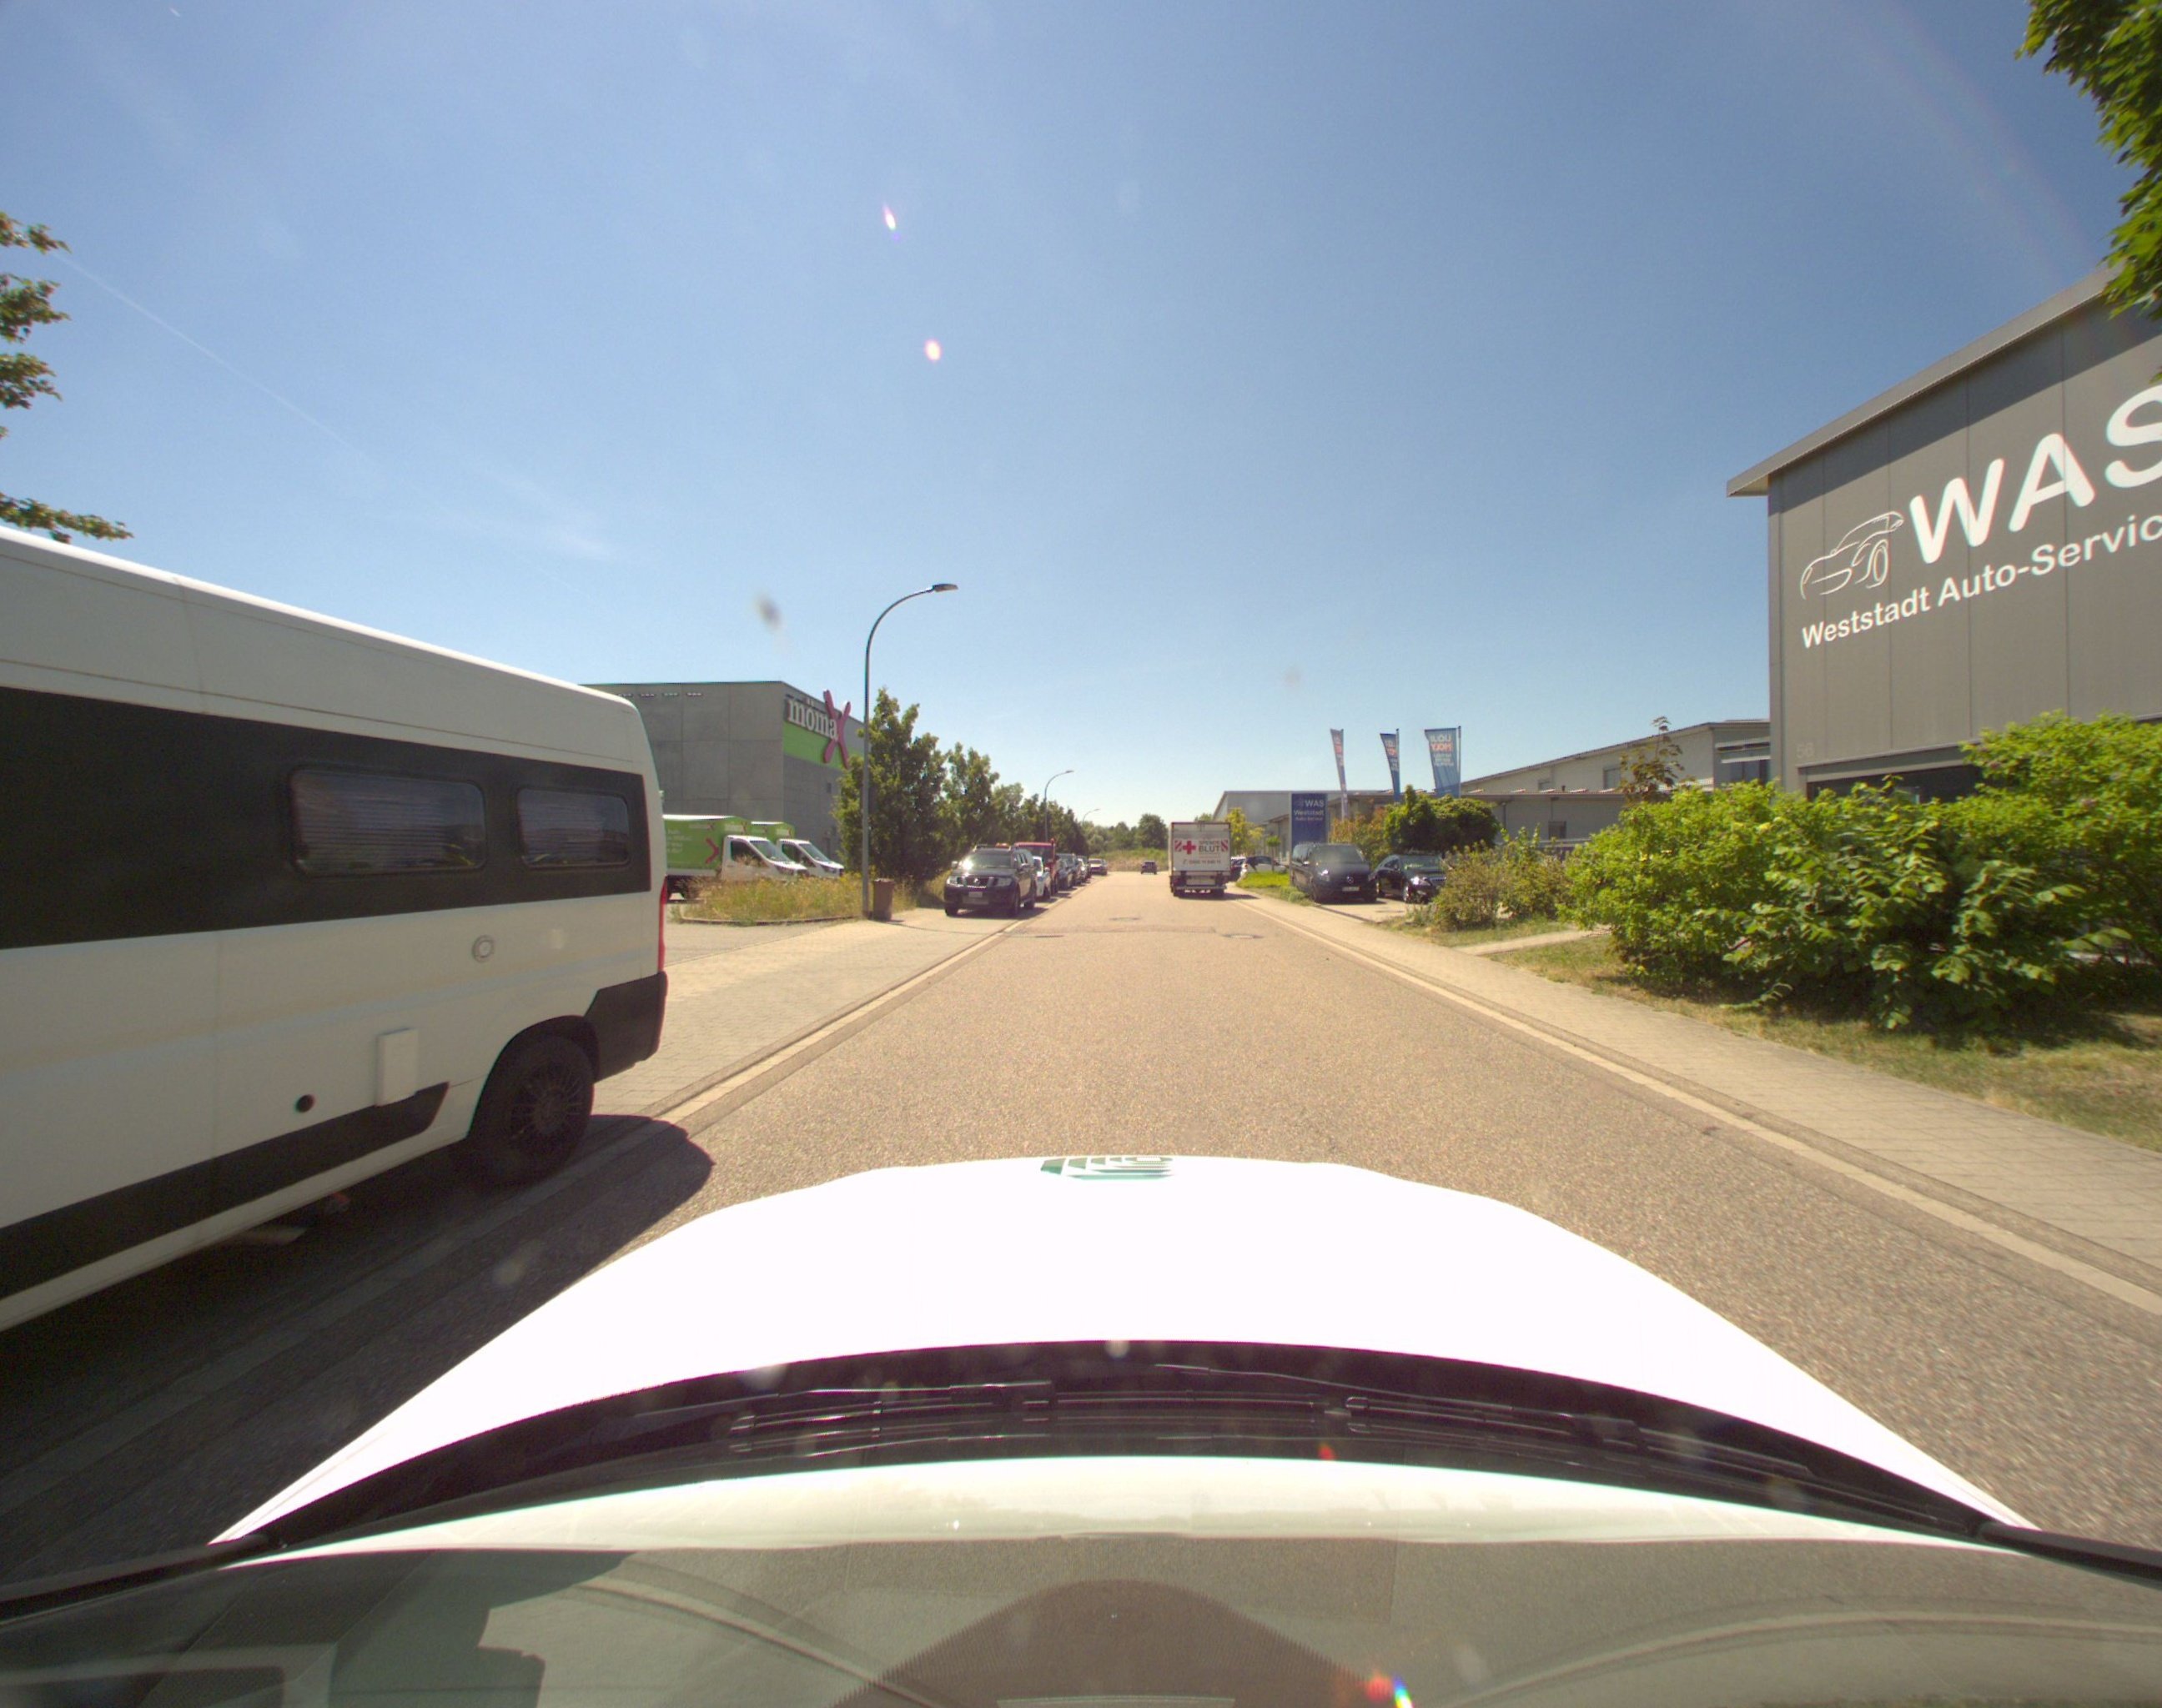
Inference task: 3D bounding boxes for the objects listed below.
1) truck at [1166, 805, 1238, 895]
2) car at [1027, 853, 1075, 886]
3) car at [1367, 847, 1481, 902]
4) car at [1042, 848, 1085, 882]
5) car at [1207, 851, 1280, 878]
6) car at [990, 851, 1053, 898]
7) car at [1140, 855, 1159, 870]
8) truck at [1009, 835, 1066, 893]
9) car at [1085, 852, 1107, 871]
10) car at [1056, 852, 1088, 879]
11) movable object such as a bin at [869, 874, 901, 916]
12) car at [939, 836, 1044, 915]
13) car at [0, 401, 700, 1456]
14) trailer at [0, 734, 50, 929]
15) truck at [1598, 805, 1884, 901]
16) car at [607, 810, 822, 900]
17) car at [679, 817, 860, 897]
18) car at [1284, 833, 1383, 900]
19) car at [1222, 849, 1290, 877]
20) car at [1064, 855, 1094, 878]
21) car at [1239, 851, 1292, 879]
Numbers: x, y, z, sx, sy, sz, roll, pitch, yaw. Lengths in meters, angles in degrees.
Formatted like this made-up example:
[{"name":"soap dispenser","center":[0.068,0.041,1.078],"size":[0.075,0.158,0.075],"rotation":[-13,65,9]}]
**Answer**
[{"name":"truck","center":[4.787,-0.149,33.177],"size":[2.445,3.205,6.892],"rotation":[1,0,5]},{"name":"car","center":[-1.376,0.697,39.273],"size":[1.843,1.443,4.758],"rotation":[1,0,4]},{"name":"car","center":[10.654,0.569,25.686],"size":[1.984,1.536,4.596],"rotation":[-1,1,4]},{"name":"car","center":[-0.892,0.602,45.196],"size":[1.843,1.758,4.992],"rotation":[1,0,4]},{"name":"car","center":[10.121,0.658,50.829],"size":[4.259,1.541,1.915],"rotation":[-1,-1,4]},{"name":"car","center":[-2.062,0.686,29.150],"size":[1.844,1.551,3.768],"rotation":[1,0,2]},{"name":"car","center":[8.035,0.985,95.452],"size":[1.906,1.713,4.032],"rotation":[0,0,1]},{"name":"truck","center":[-1.730,0.383,33.886],"size":[1.844,2.222,4.649],"rotation":[1,0,3]},{"name":"car","center":[1.490,0.697,79.442],"size":[1.904,1.713,4.417],"rotation":[-1,0,3]},{"name":"car","center":[-0.510,0.680,50.602],"size":[1.845,1.519,4.905],"rotation":[1,0,1]},{"name":"movable object such as a bin","center":[-4.561,0.955,18.979],"size":[0.545,0.950,0.683],"rotation":[0,0,2]},{"name":"car","center":[-2.321,0.539,22.637],"size":[1.965,1.901,5.407],"rotation":[1,0,4]},{"name":"car","center":[-3.810,0.171,2.119],"size":[2.312,2.598,6.092],"rotation":[1,0,5]},{"name":"trailer","center":[-30.312,-0.343,16.667],"size":[15.253,4.088,3.222],"rotation":[-1,-1,3]},{"name":"truck","center":[17.908,-0.005,22.372],"size":[5.906,2.370,2.183],"rotation":[-1,-1,4]},{"name":"car","center":[-12.084,0.026,27.187],"size":[5.950,2.824,2.523],"rotation":[0,0,2]},{"name":"car","center":[-11.873,0.098,31.364],"size":[5.950,2.926,2.523],"rotation":[0,0,2]},{"name":"car","center":[8.253,0.384,27.173],"size":[1.984,2.014,5.343],"rotation":[-1,0,4]},{"name":"car","center":[10.313,0.544,48.248],"size":[3.675,1.541,1.915],"rotation":[-1,-1,5]},{"name":"car","center":[-0.128,0.948,63.257],"size":[1.983,1.713,5.012],"rotation":[1,0,4]},{"name":"car","center":[10.333,0.614,45.777],"size":[2.693,1.541,1.414],"rotation":[-1,-1,5]}]
